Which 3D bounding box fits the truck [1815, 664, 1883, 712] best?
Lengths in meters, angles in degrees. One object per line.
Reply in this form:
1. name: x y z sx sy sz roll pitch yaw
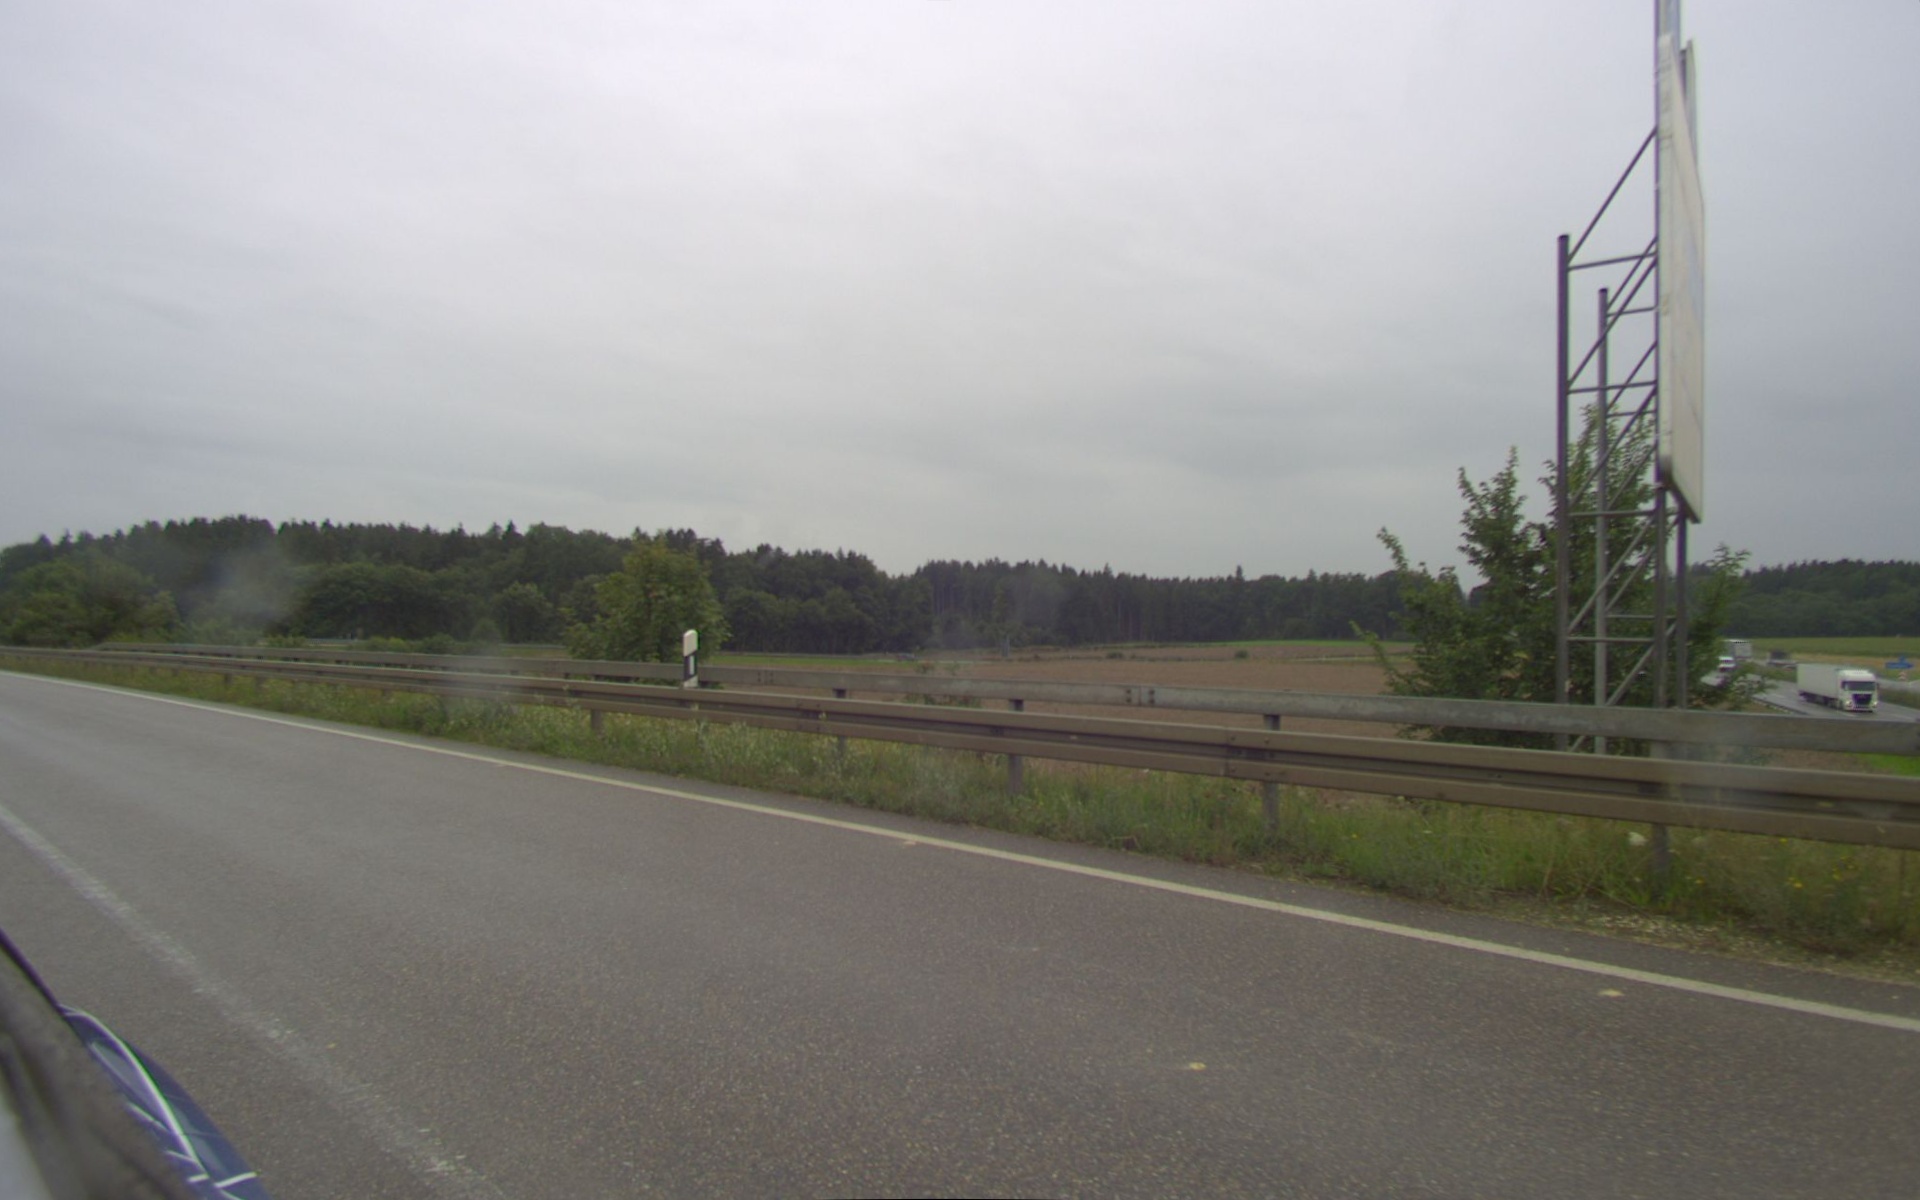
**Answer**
1. truck: 88.454 8.630 100.882 2.773 3.899 10.541 0 0 28
